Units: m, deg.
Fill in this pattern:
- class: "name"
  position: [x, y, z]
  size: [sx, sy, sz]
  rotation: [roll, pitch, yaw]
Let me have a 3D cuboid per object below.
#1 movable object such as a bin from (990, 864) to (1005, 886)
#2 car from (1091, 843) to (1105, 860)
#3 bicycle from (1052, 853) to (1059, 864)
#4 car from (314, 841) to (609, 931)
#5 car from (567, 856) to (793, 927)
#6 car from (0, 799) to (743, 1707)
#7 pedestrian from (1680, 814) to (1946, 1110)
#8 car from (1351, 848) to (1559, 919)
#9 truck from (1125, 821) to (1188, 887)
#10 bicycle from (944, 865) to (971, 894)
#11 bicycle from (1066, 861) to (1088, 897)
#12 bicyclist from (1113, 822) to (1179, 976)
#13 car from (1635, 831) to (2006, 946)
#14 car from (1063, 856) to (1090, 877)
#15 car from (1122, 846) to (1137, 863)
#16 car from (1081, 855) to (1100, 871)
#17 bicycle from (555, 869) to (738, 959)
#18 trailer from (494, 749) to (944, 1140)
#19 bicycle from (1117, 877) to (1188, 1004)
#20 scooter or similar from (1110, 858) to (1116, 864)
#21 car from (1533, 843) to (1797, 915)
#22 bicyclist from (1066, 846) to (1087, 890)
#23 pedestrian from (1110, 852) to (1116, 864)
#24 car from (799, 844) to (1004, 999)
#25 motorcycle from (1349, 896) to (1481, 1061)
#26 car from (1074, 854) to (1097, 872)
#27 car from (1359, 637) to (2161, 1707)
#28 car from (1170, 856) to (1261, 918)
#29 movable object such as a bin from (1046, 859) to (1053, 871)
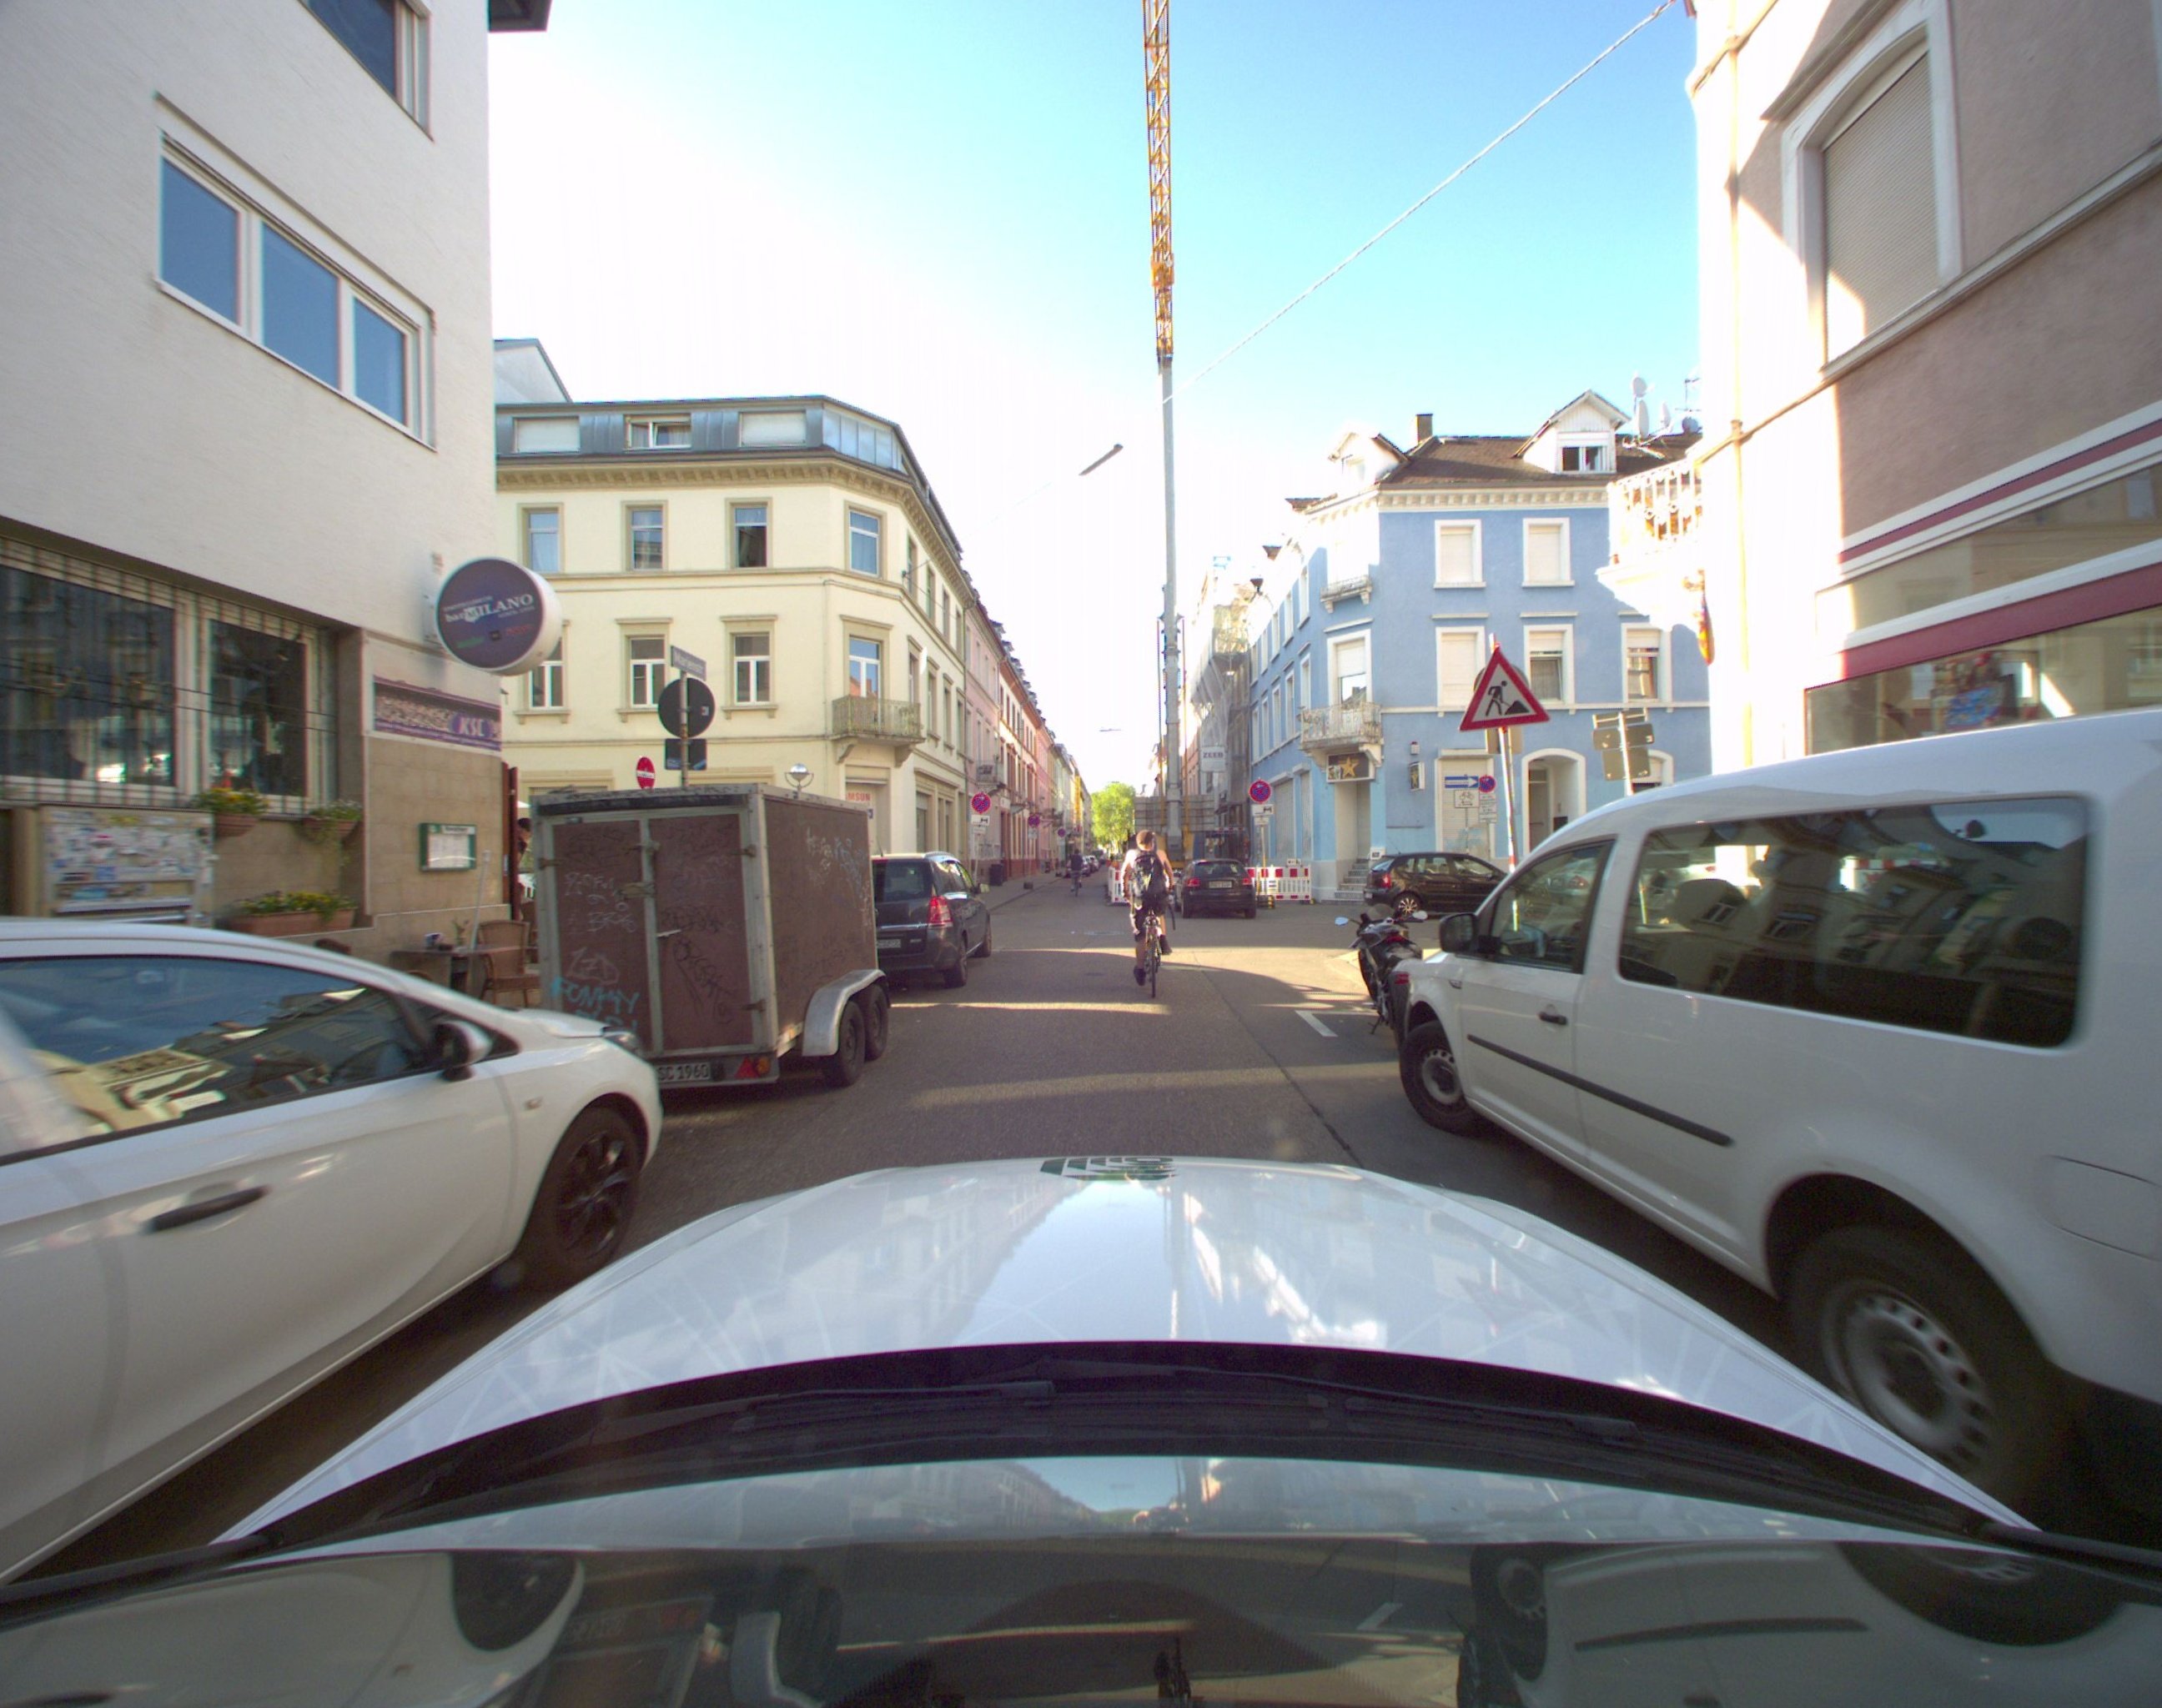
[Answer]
- class: "movable object such as a bin"
  position: [-3.956, 0.990, 38.586]
  size: [0.603, 1.035, 0.596]
  rotation: [0, -1, 1]
- class: "car"
  position: [2.607, -0.381, 124.911]
  size: [1.903, 2.497, 4.165]
  rotation: [-2, 0, 0]
- class: "bicycle"
  position: [-2.485, 0.427, 79.236]
  size: [0.590, 1.089, 2.080]
  rotation: [0, -1, 3]
- class: "car"
  position: [-13.687, 0.669, 18.230]
  size: [5.072, 1.850, 1.856]
  rotation: [-1, 0, -2]
- class: "car"
  position: [-8.805, 0.804, 18.152]
  size: [4.126, 1.455, 1.759]
  rotation: [-1, 0, 0]
- class: "car"
  position: [-2.534, 0.729, 1.968]
  size: [1.670, 1.554, 3.820]
  rotation: [-3, -1, 2]
- class: "pedestrian"
  position: [4.919, 0.674, 5.567]
  size: [0.822, 1.793, 0.990]
  rotation: [-4, -1, 2]
- class: "car"
  position: [8.189, 0.623, 18.064]
  size: [3.852, 1.453, 1.678]
  rotation: [-1, 0, 2]
- class: "truck"
  position: [3.415, 0.046, 38.495]
  size: [2.650, 2.814, 7.398]
  rotation: [0, 0, 3]
- class: "bicycle"
  position: [-4.538, 0.916, 30.014]
  size: [0.619, 1.022, 1.819]
  rotation: [0, 0, 3]
- class: "bicycle"
  position: [-0.137, 0.927, 30.977]
  size: [0.699, 1.208, 2.343]
  rotation: [-2, 1, 2]
- class: "bicyclist"
  position: [0.714, 0.482, 9.195]
  size: [0.699, 1.633, 1.091]
  rotation: [0, -1, 2]
- class: "car"
  position: [11.371, 0.541, 12.783]
  size: [4.043, 1.632, 1.857]
  rotation: [-1, -2, 2]
- class: "car"
  position: [-0.326, 0.930, 59.850]
  size: [1.704, 1.383, 4.508]
  rotation: [-3, -1, 2]
- class: "car"
  position: [8.014, 0.078, 135.783]
  size: [2.299, 2.538, 6.773]
  rotation: [-3, -1, 2]
- class: "car"
  position: [0.938, 0.839, 77.565]
  size: [1.665, 1.442, 4.167]
  rotation: [-3, -1, 2]
- class: "bicycle"
  position: [-7.037, 0.959, 13.271]
  size: [2.465, 1.359, 0.929]
  rotation: [-1, -1, 2]
- class: "trailer"
  position: [-2.348, 0.507, 6.639]
  size: [1.656, 2.061, 4.362]
  rotation: [-3, -1, 0]
- class: "bicycle"
  position: [0.759, 0.885, 9.210]
  size: [0.699, 1.208, 2.343]
  rotation: [0, -1, 3]
- class: "scooter or similar"
  position: [4.116, 0.918, 106.019]
  size: [0.768, 0.873, 0.771]
  rotation: [0, -1, 2]
- class: "car"
  position: [12.600, 0.508, 17.804]
  size: [4.450, 1.434, 1.759]
  rotation: [-1, 2, 4]
- class: "bicyclist"
  position: [-0.169, 0.521, 30.904]
  size: [0.699, 1.605, 0.813]
  rotation: [-2, 1, 2]
- class: "pedestrian"
  position: [4.125, 0.572, 106.494]
  size: [0.768, 1.578, 0.901]
  rotation: [0, -1, 2]
- class: "car"
  position: [-2.139, 0.721, 10.915]
  size: [1.716, 1.605, 4.166]
  rotation: [-2, 0, 1]
- class: "motorcycle"
  position: [2.771, 0.955, 6.963]
  size: [0.714, 1.086, 2.003]
  rotation: [1, 0, 13]
- class: "car"
  position: [0.415, 0.759, 71.076]
  size: [1.703, 1.383, 4.361]
  rotation: [-1, 1, 5]
- class: "car"
  position: [2.700, 0.538, 3.268]
  size: [1.742, 1.816, 4.372]
  rotation: [-3, -1, 2]
- class: "car"
  position: [3.319, 0.768, 20.760]
  size: [1.765, 1.434, 4.035]
  rotation: [0, 0, 2]
- class: "movable object such as a bin"
  position: [-2.566, 0.900, 66.190]
  size: [0.541, 0.945, 0.488]
  rotation: [0, -1, 3]
